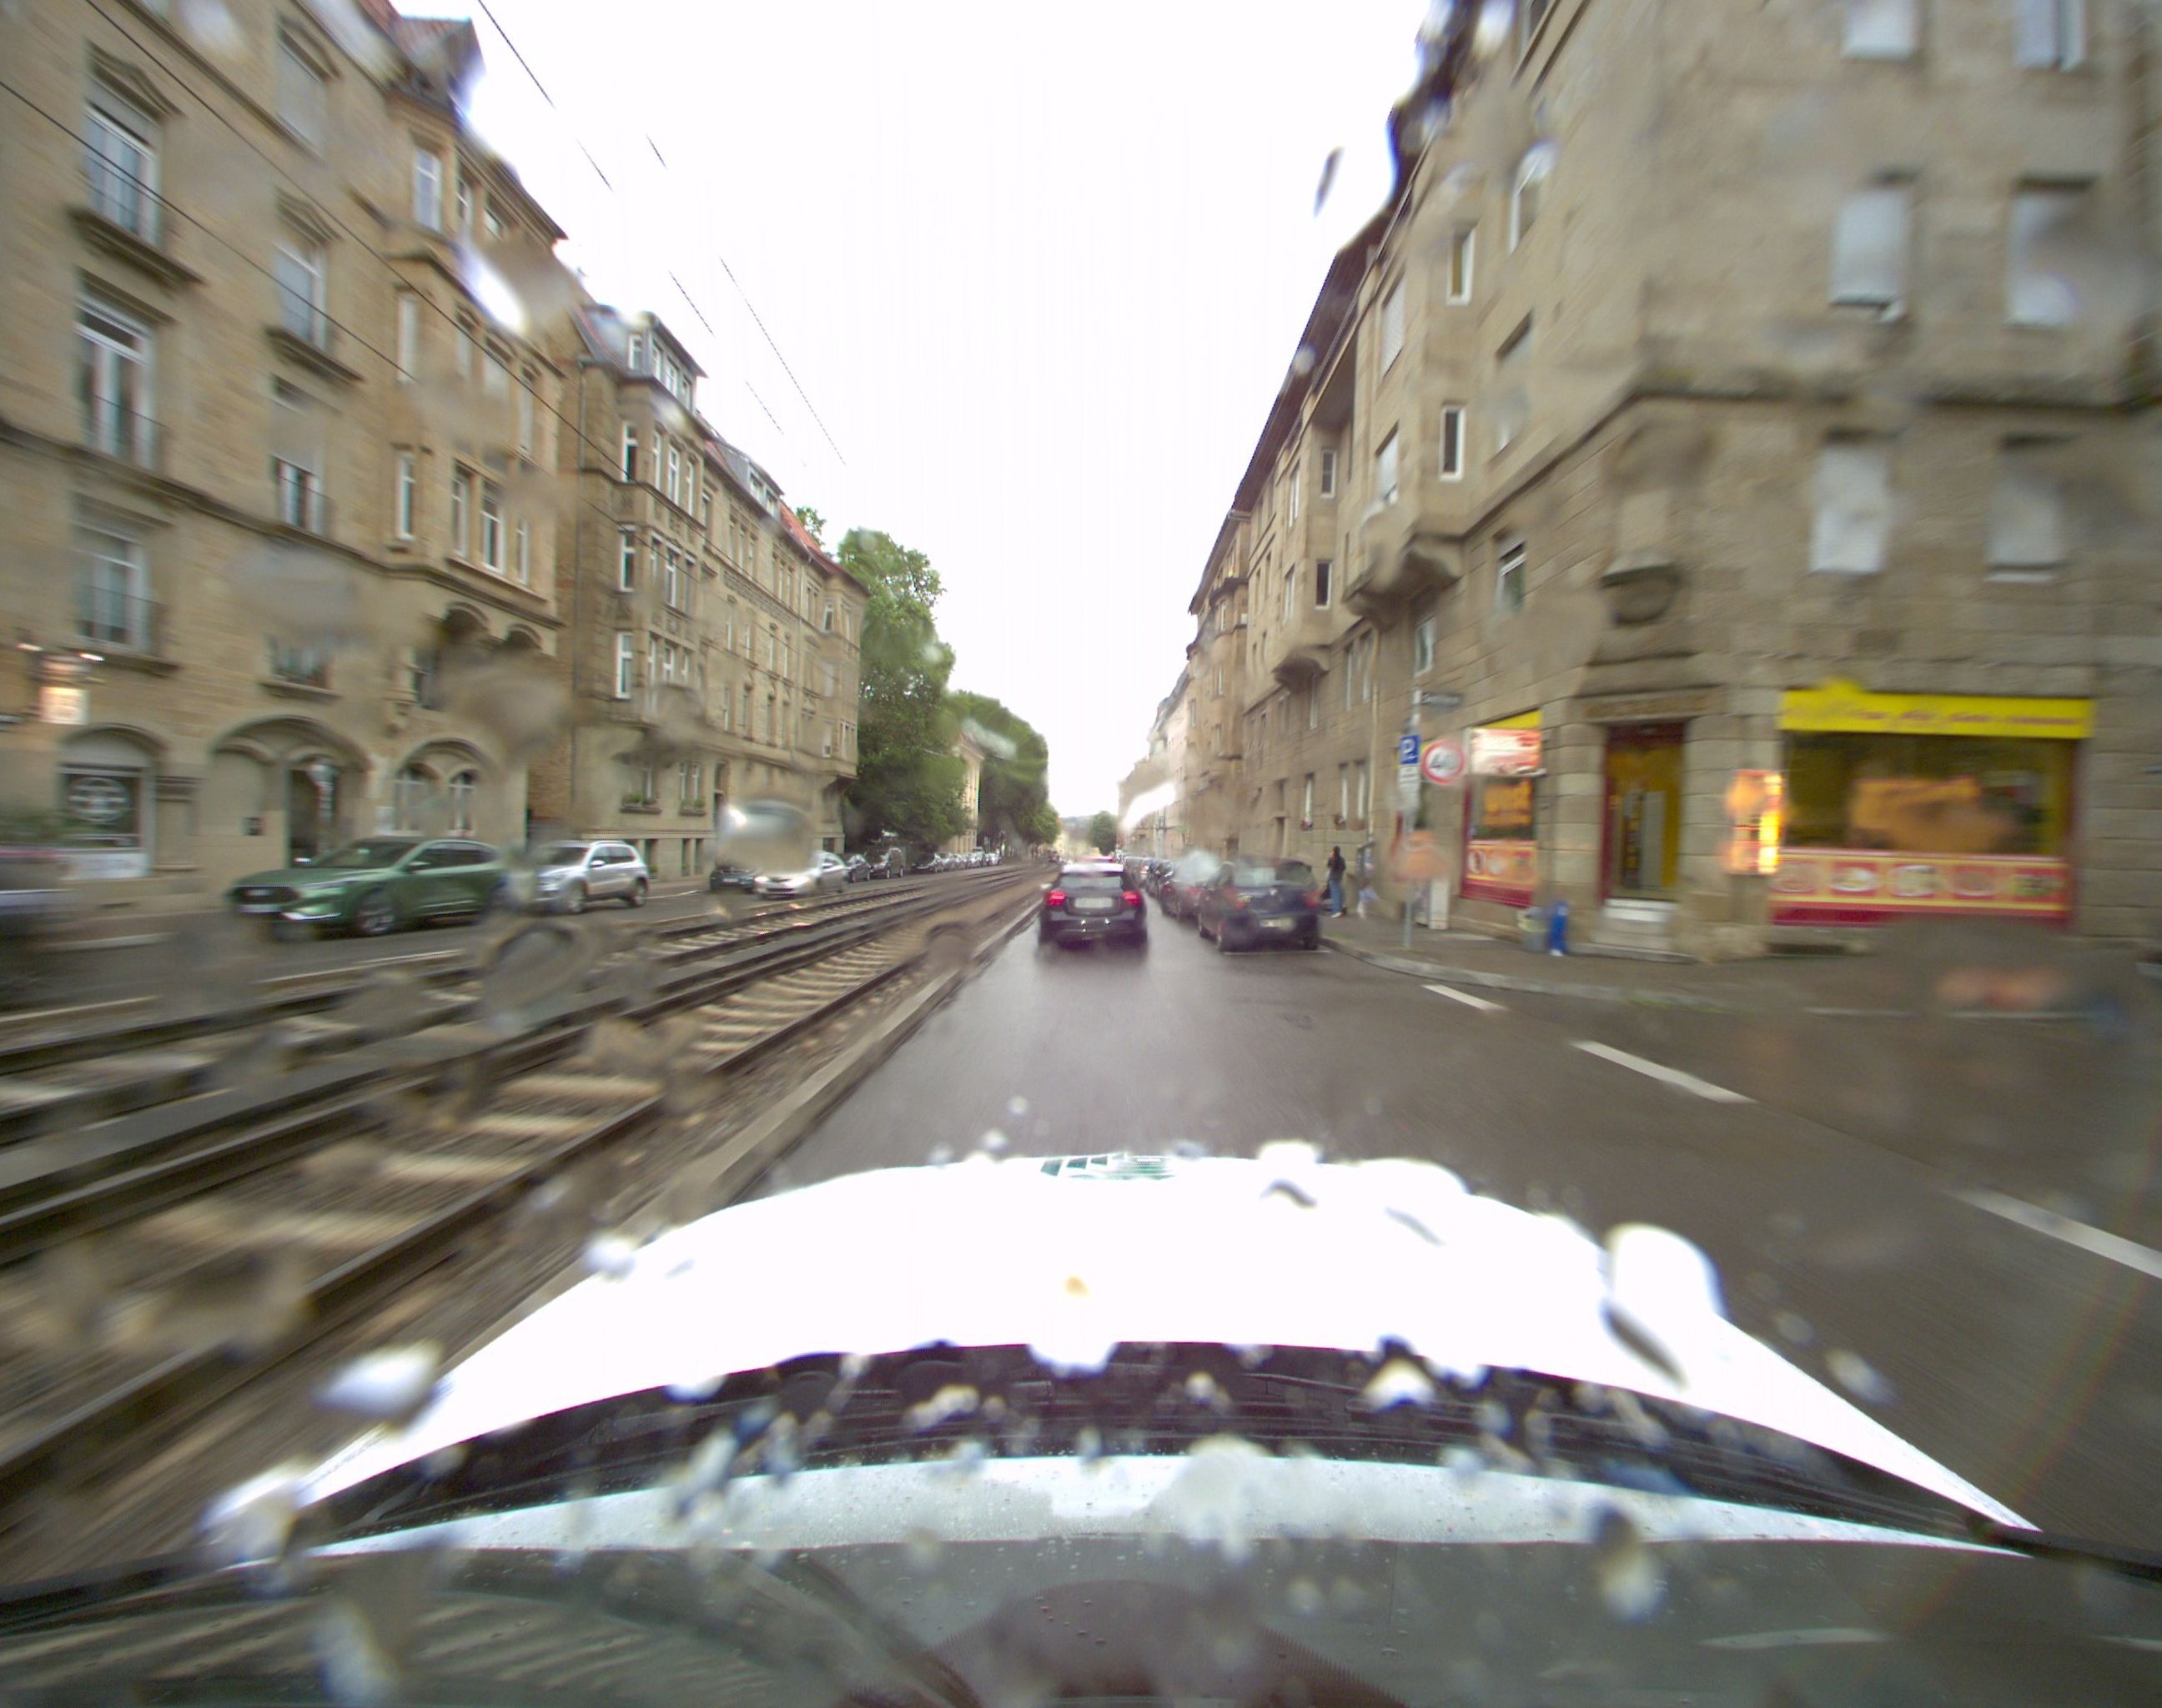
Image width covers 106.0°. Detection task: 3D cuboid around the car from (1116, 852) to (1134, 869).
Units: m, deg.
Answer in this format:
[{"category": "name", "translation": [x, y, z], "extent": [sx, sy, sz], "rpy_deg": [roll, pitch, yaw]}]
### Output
[{"category": "car", "translation": [4.576, 0.678, 85.520], "extent": [1.821, 1.750, 4.470], "rpy_deg": [1, 0, 3]}]

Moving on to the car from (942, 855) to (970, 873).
[{"category": "car", "translation": [-10.709, 0.842, 70.157], "extent": [1.748, 1.413, 4.153], "rpy_deg": [-1, 0, 0]}]

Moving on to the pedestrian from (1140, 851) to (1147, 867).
[{"category": "pedestrian", "translation": [6.986, 0.554, 90.785], "extent": [0.743, 1.833, 1.039], "rpy_deg": [-2, 0, 2]}]

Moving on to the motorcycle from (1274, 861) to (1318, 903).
[{"category": "motorcycle", "translation": [6.553, 0.818, 24.967], "extent": [0.702, 1.199, 2.746], "rpy_deg": [1, 0, 1]}]

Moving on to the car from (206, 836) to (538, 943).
[{"category": "car", "translation": [-12.119, 0.528, 14.439], "extent": [1.851, 1.602, 4.433], "rpy_deg": [0, 0, 3]}]

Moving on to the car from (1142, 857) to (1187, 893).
[{"category": "car", "translation": [3.514, 0.851, 34.778], "extent": [1.539, 1.415, 3.445], "rpy_deg": [1, 0, 0]}]

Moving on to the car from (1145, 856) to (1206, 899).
[{"category": "car", "translation": [3.450, 0.817, 30.443], "extent": [1.782, 1.462, 4.082], "rpy_deg": [1, 0, 0]}]

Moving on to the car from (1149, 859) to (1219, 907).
[{"category": "car", "translation": [3.209, 0.860, 25.989], "extent": [1.701, 1.398, 4.017], "rpy_deg": [1, 0, 0]}]

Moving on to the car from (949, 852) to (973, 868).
[{"category": "car", "translation": [-10.945, 0.558, 74.463], "extent": [1.534, 1.413, 3.953], "rpy_deg": [-1, 0, 0]}]

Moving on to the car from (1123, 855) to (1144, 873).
[{"category": "car", "translation": [4.252, 0.809, 66.241], "extent": [1.564, 1.462, 3.601], "rpy_deg": [0, 0, 2]}]

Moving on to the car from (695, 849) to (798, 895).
[{"category": "car", "translation": [-11.879, 0.599, 29.241], "extent": [1.864, 1.508, 4.170], "rpy_deg": [0, 0, 1]}]

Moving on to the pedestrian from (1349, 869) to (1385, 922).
[{"category": "pedestrian", "translation": [5.852, 0.844, 16.679], "extent": [0.509, 1.050, 0.627], "rpy_deg": [1, 0, 1]}]

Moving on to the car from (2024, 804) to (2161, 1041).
[{"category": "car", "translation": [10.860, 0.466, 6.321], "extent": [4.762, 1.861, 2.000], "rpy_deg": [-2, 0, 0]}]

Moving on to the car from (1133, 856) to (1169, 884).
[{"category": "car", "translation": [3.769, 0.845, 44.338], "extent": [1.586, 1.434, 3.682], "rpy_deg": [0, 0, -1]}]

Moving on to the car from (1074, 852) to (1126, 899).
[{"category": "car", "translation": [0.692, 0.736, 29.772], "extent": [1.779, 1.581, 4.001], "rpy_deg": [1, 0, 1]}]

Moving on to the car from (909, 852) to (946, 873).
[{"category": "car", "translation": [-11.144, 0.581, 59.246], "extent": [1.843, 1.464, 4.549], "rpy_deg": [-1, 0, -1]}]

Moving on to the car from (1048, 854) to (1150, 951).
[{"category": "car", "translation": [0.313, 0.764, 14.576], "extent": [1.575, 1.505, 3.575], "rpy_deg": [1, 0, 1]}]

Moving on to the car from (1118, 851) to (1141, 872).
[{"category": "car", "translation": [4.130, 0.618, 70.481], "extent": [1.785, 1.765, 4.212], "rpy_deg": [0, 0, 1]}]

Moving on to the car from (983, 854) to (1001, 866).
[{"category": "car", "translation": [-10.358, 0.661, 94.672], "extent": [1.494, 1.391, 3.989], "rpy_deg": [-1, 0, 2]}]

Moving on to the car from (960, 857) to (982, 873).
[{"category": "car", "translation": [-10.676, 1.067, 79.134], "extent": [1.534, 1.505, 4.154], "rpy_deg": [-1, 0, 0]}]

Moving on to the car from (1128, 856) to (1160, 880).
[{"category": "car", "translation": [3.816, 0.814, 49.673], "extent": [1.662, 1.434, 3.955], "rpy_deg": [0, 0, 0]}]

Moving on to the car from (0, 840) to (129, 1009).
[{"category": "car", "translation": [-9.786, 0.575, 5.686], "extent": [1.697, 1.388, 3.785], "rpy_deg": [0, 0, 4]}]

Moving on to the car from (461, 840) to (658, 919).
[{"category": "car", "translation": [-12.039, 0.542, 19.200], "extent": [1.853, 1.652, 4.314], "rpy_deg": [0, 0, 0]}]

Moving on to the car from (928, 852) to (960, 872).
[{"category": "car", "translation": [-10.921, 0.629, 65.084], "extent": [1.748, 1.536, 4.543], "rpy_deg": [-1, 0, 0]}]

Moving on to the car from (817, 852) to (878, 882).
[{"category": "car", "translation": [-11.488, 0.624, 40.395], "extent": [1.756, 1.398, 4.269], "rpy_deg": [0, 0, 0]}]

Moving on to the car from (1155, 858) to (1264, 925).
[{"category": "car", "translation": [2.945, 0.804, 19.622], "extent": [1.750, 1.387, 4.481], "rpy_deg": [-1, 0, -2]}]

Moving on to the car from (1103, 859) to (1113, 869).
[{"category": "car", "translation": [5.055, 1.840, 151.366], "extent": [1.820, 1.618, 3.865], "rpy_deg": [-1, 0, 1]}]

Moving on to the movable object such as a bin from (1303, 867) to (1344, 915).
[{"category": "movable object such as a bin", "translation": [5.887, 0.879, 19.785], "extent": [0.663, 1.103, 1.124], "rpy_deg": [1, 0, 1]}]

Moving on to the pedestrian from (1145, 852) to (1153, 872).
[{"category": "pedestrian", "translation": [6.075, 0.740, 72.970], "extent": [0.605, 1.763, 0.688], "rpy_deg": [-1, 0, 0]}]

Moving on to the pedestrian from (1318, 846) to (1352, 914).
[{"category": "pedestrian", "translation": [5.878, 0.593, 18.848], "extent": [0.559, 1.535, 0.710], "rpy_deg": [1, 0, 1]}]

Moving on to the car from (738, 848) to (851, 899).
[{"category": "car", "translation": [-8.803, 0.568, 25.449], "extent": [1.975, 1.457, 4.294], "rpy_deg": [0, 0, 0]}]

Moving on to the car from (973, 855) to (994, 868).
[{"category": "car", "translation": [-10.717, 0.807, 89.840], "extent": [1.668, 1.413, 4.012], "rpy_deg": [-1, 0, 2]}]

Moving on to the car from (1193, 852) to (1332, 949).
[{"category": "car", "translation": [3.010, 0.703, 14.254], "extent": [1.665, 1.444, 3.791], "rpy_deg": [-1, 0, 2]}]

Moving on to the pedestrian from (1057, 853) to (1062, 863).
[{"category": "pedestrian", "translation": [-3.626, 0.677, 136.558], "extent": [0.803, 1.633, 0.892], "rpy_deg": [-1, 0, 1]}]

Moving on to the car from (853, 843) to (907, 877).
[{"category": "car", "translation": [-11.393, 0.334, 46.496], "extent": [1.794, 1.846, 4.819], "rpy_deg": [0, 0, 1]}]
